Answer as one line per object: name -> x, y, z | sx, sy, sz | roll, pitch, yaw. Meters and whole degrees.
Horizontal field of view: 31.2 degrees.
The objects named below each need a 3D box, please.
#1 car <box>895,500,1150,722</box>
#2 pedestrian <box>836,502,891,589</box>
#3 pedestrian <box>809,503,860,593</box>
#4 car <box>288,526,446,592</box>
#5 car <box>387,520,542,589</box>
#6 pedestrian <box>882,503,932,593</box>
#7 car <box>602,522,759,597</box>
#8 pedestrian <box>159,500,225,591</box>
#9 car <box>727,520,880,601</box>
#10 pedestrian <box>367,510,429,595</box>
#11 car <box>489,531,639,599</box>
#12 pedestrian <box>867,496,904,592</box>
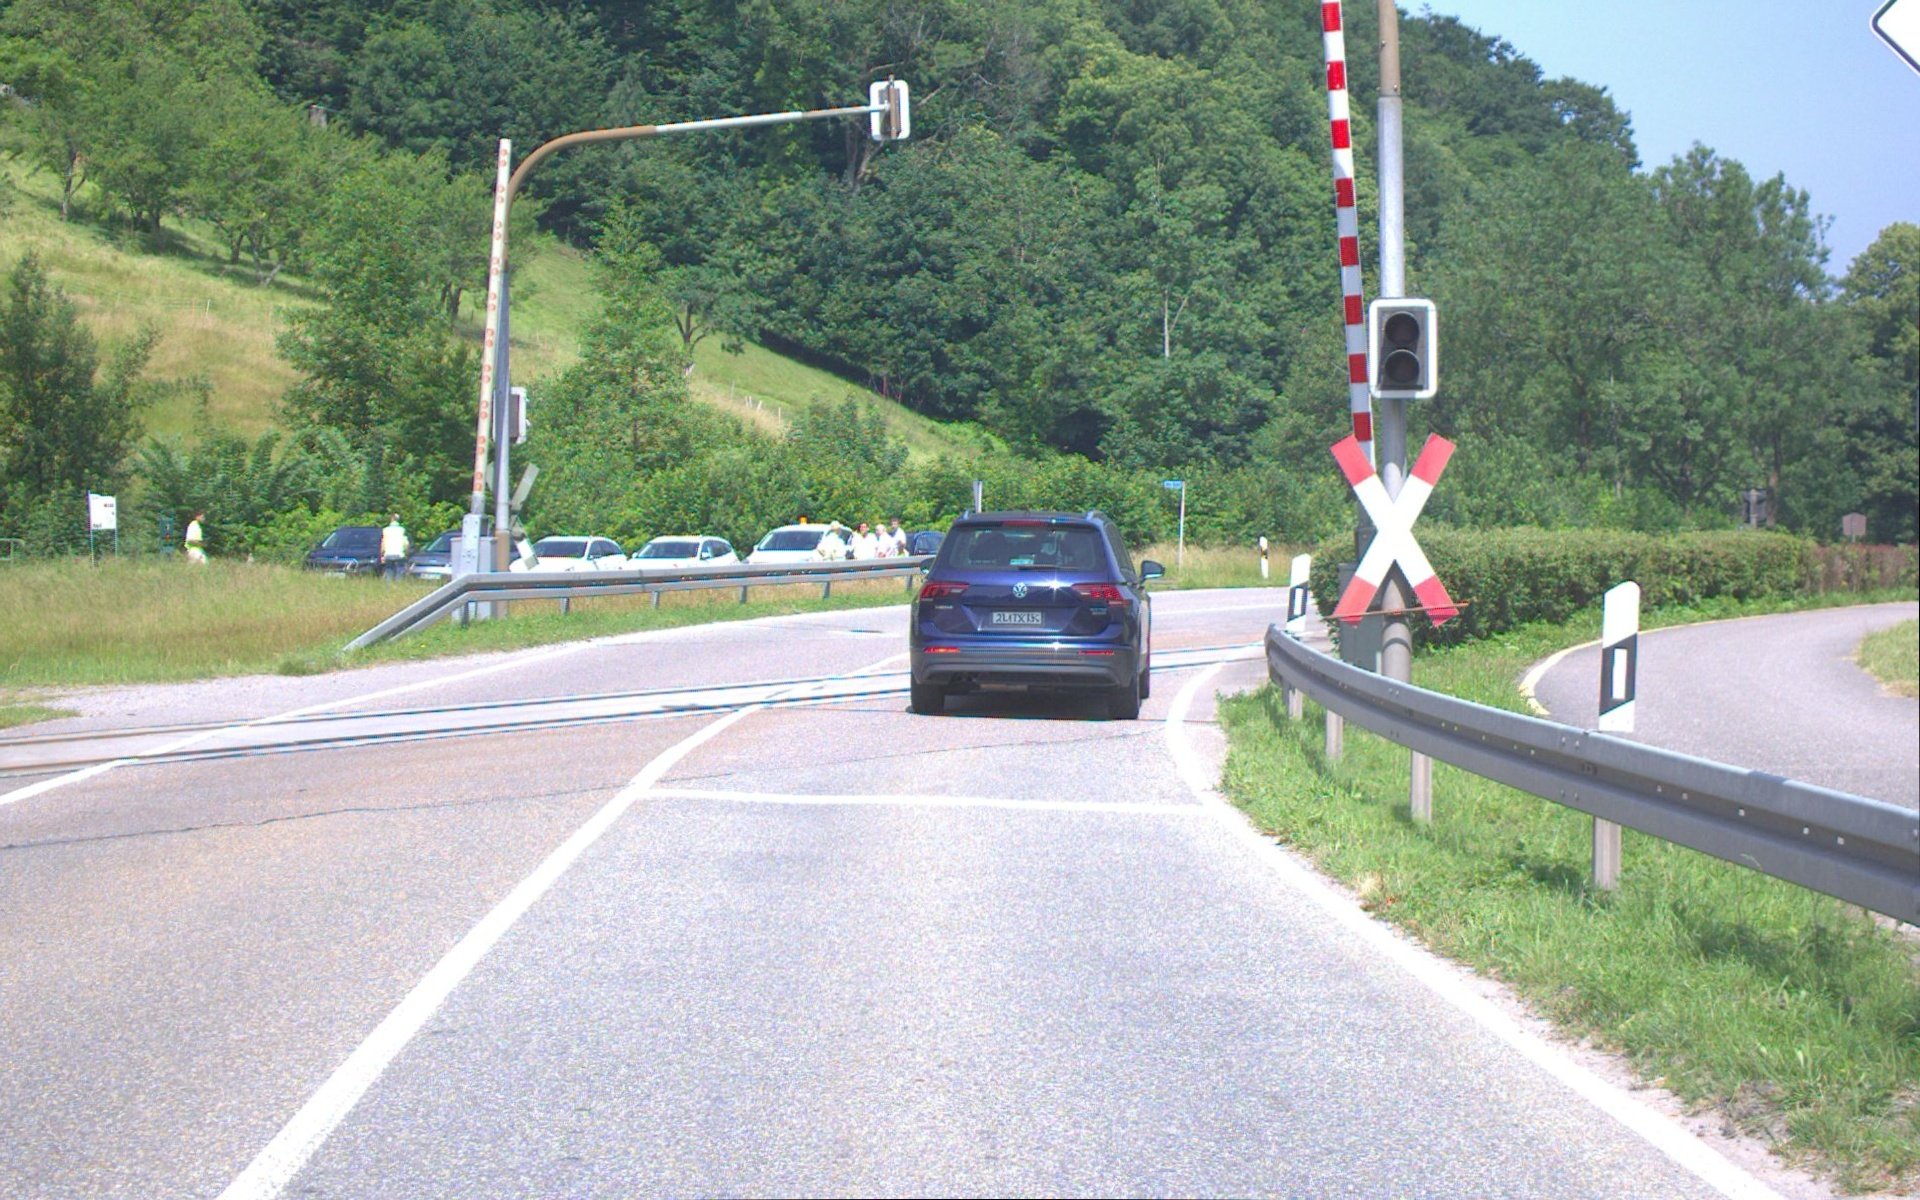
car -> 0.586, 0.046, 28.311 | 1.853, 1.643, 4.139 | 2, 1, 4
pedestrian -> -1.999, -1.130, 71.337 | 0.770, 1.790, 0.792 | -1, 1, 42
pedestrian -> -2.558, -1.062, 70.264 | 0.789, 1.836, 0.697 | 0, 1, 26
car -> -13.813, -0.964, 80.345 | 1.995, 1.495, 4.519 | -1, 1, 13
car -> -11.427, -1.069, 79.564 | 1.995, 1.495, 4.519 | 2, 1, 13
pedestrian -> -1.093, -1.077, 70.925 | 0.769, 1.852, 0.649 | -1, 1, -41
car -> -6.333, -0.935, 78.533 | 1.995, 1.636, 4.898 | -1, 1, 15
pedestrian -> -16.880, -1.200, 75.549 | 1.128, 1.962, 0.860 | -1, 1, 38
car -> -3.506, -0.912, 78.171 | 1.873, 1.776, 4.768 | 1, 1, 19
pedestrian -> -11.966, -1.019, 73.216 | 0.954, 1.788, 0.999 | -1, 1, 13
car -> -9.029, -0.803, 78.795 | 1.995, 1.495, 4.519 | -1, 1, 13
pedestrian -> -1.532, -1.140, 70.463 | 0.660, 1.948, 0.533 | -1, 1, 6
